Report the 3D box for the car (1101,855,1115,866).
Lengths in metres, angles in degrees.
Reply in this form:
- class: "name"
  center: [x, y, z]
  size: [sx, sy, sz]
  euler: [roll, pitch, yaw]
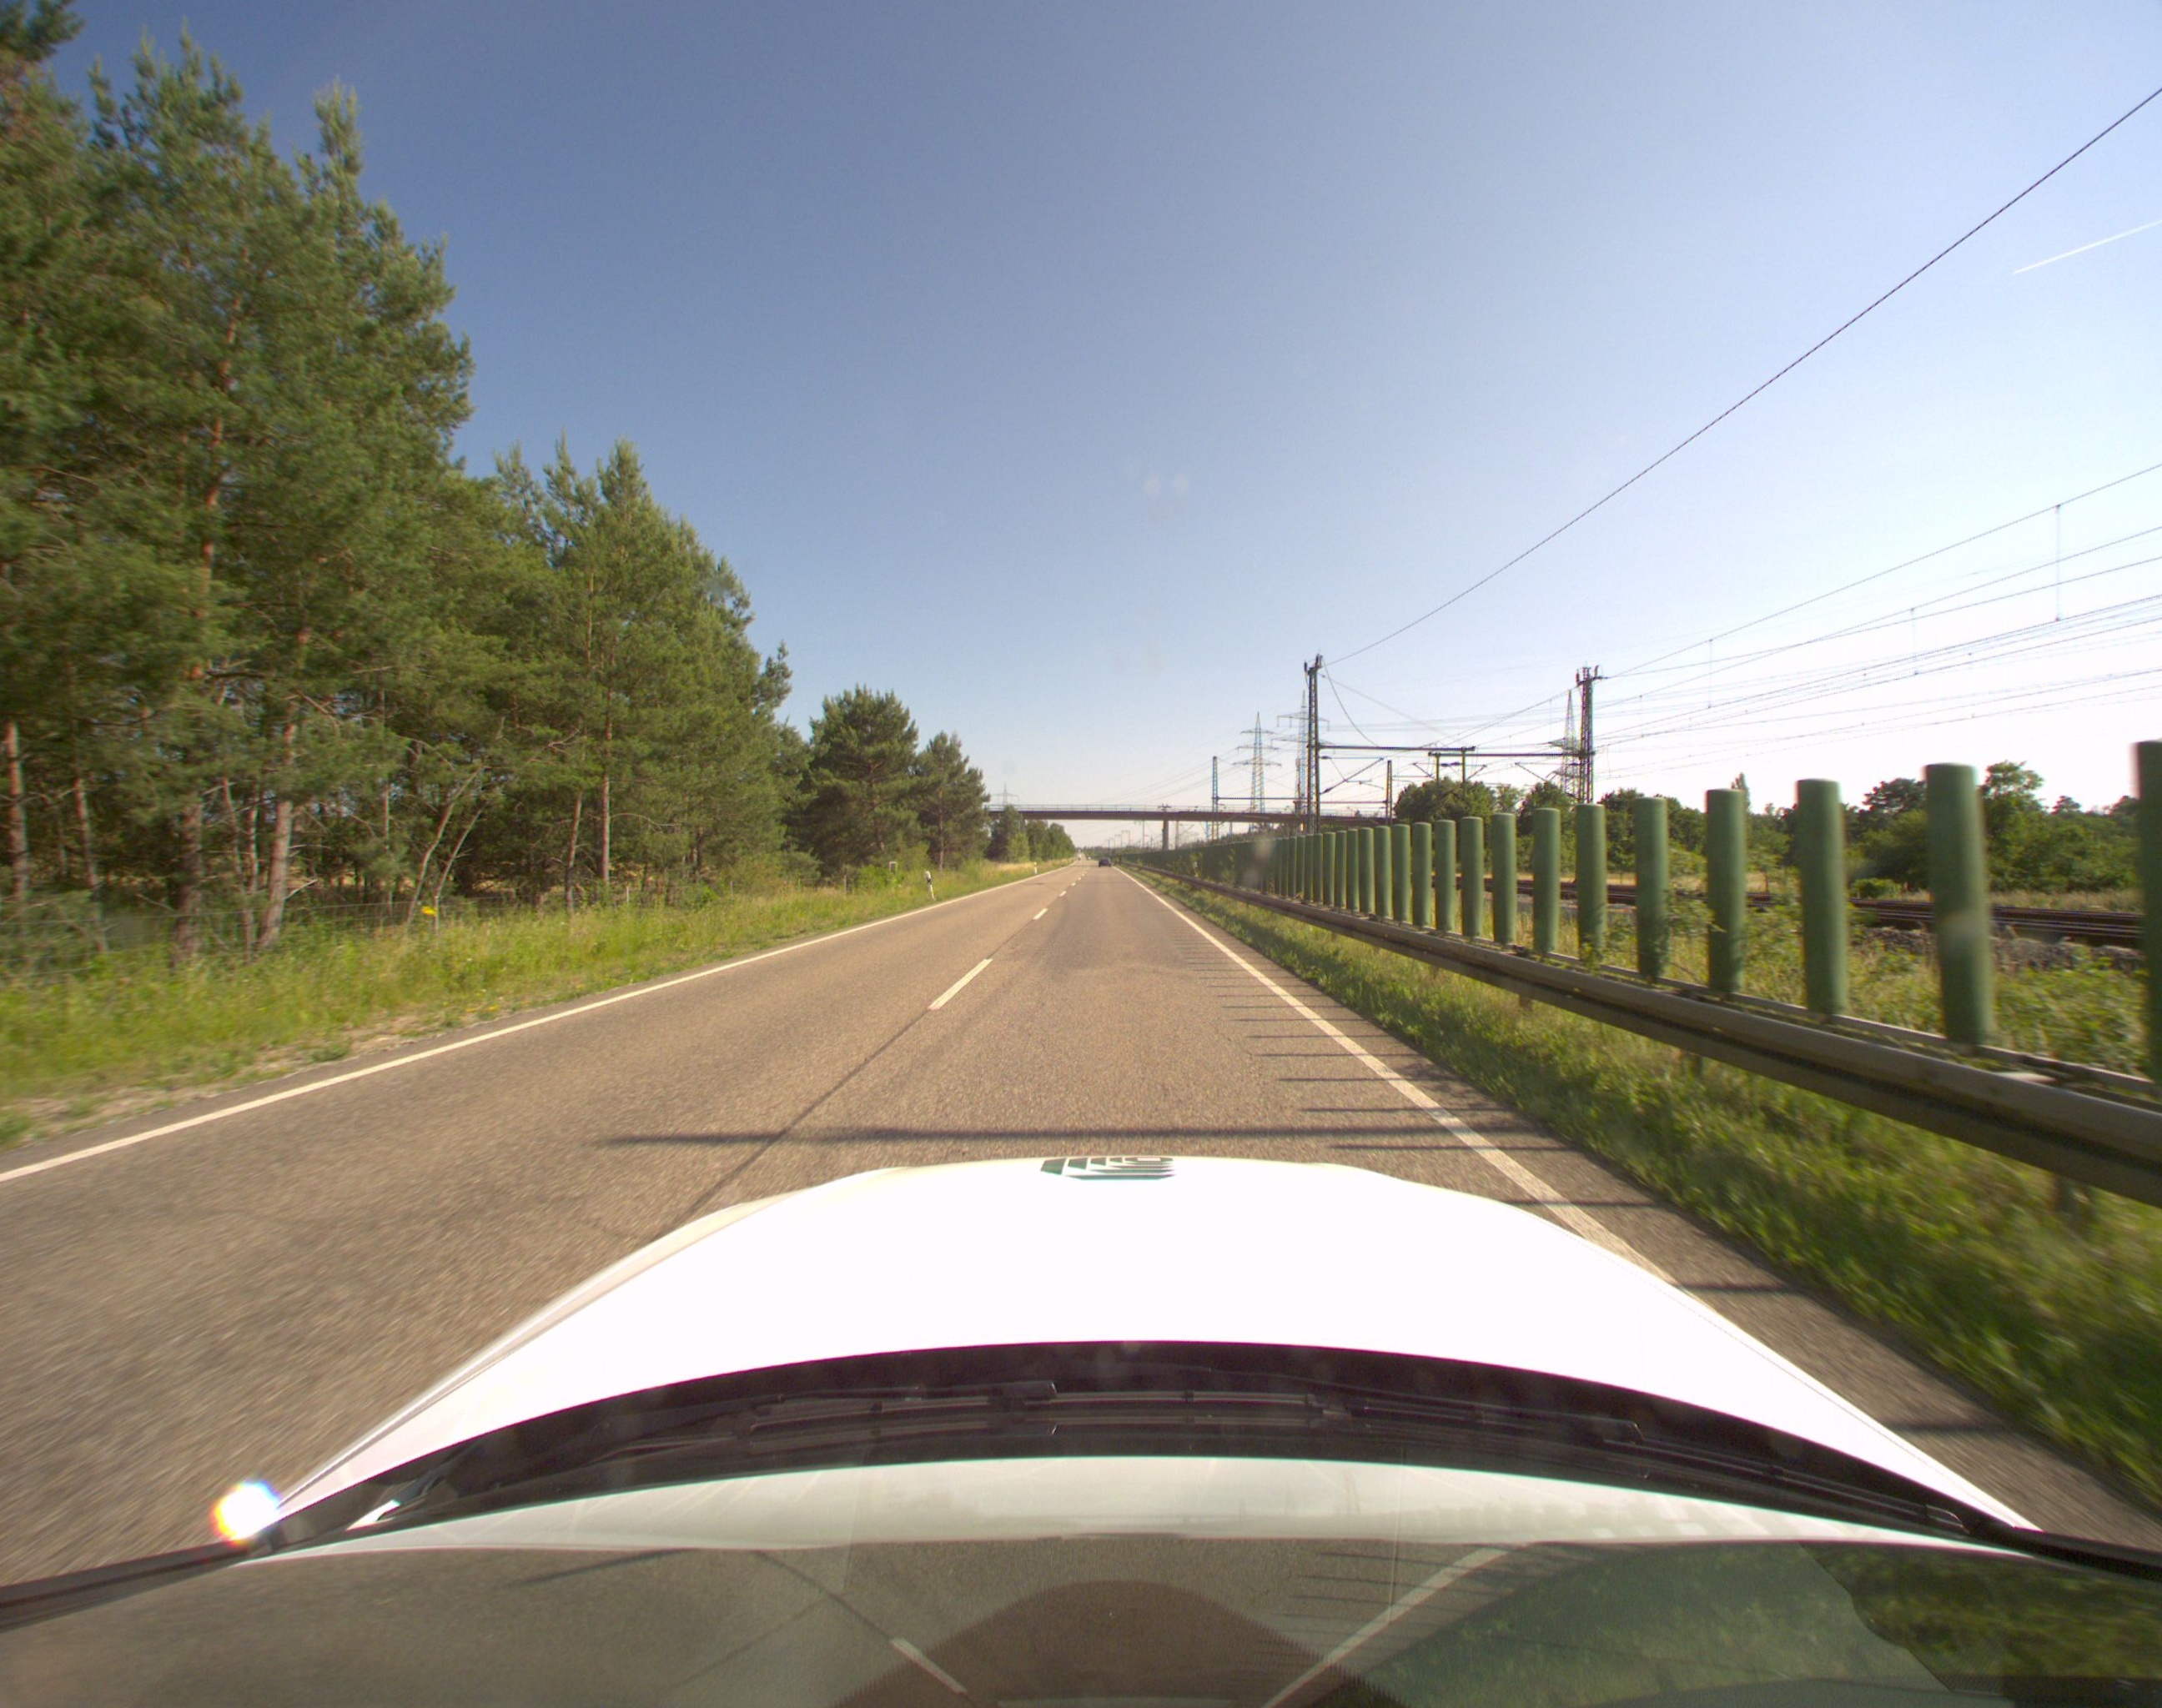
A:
- class: "car"
  center: [4.021, 0.972, 121.166]
  size: [1.852, 1.642, 4.000]
  euler: [-2, 0, 0]
